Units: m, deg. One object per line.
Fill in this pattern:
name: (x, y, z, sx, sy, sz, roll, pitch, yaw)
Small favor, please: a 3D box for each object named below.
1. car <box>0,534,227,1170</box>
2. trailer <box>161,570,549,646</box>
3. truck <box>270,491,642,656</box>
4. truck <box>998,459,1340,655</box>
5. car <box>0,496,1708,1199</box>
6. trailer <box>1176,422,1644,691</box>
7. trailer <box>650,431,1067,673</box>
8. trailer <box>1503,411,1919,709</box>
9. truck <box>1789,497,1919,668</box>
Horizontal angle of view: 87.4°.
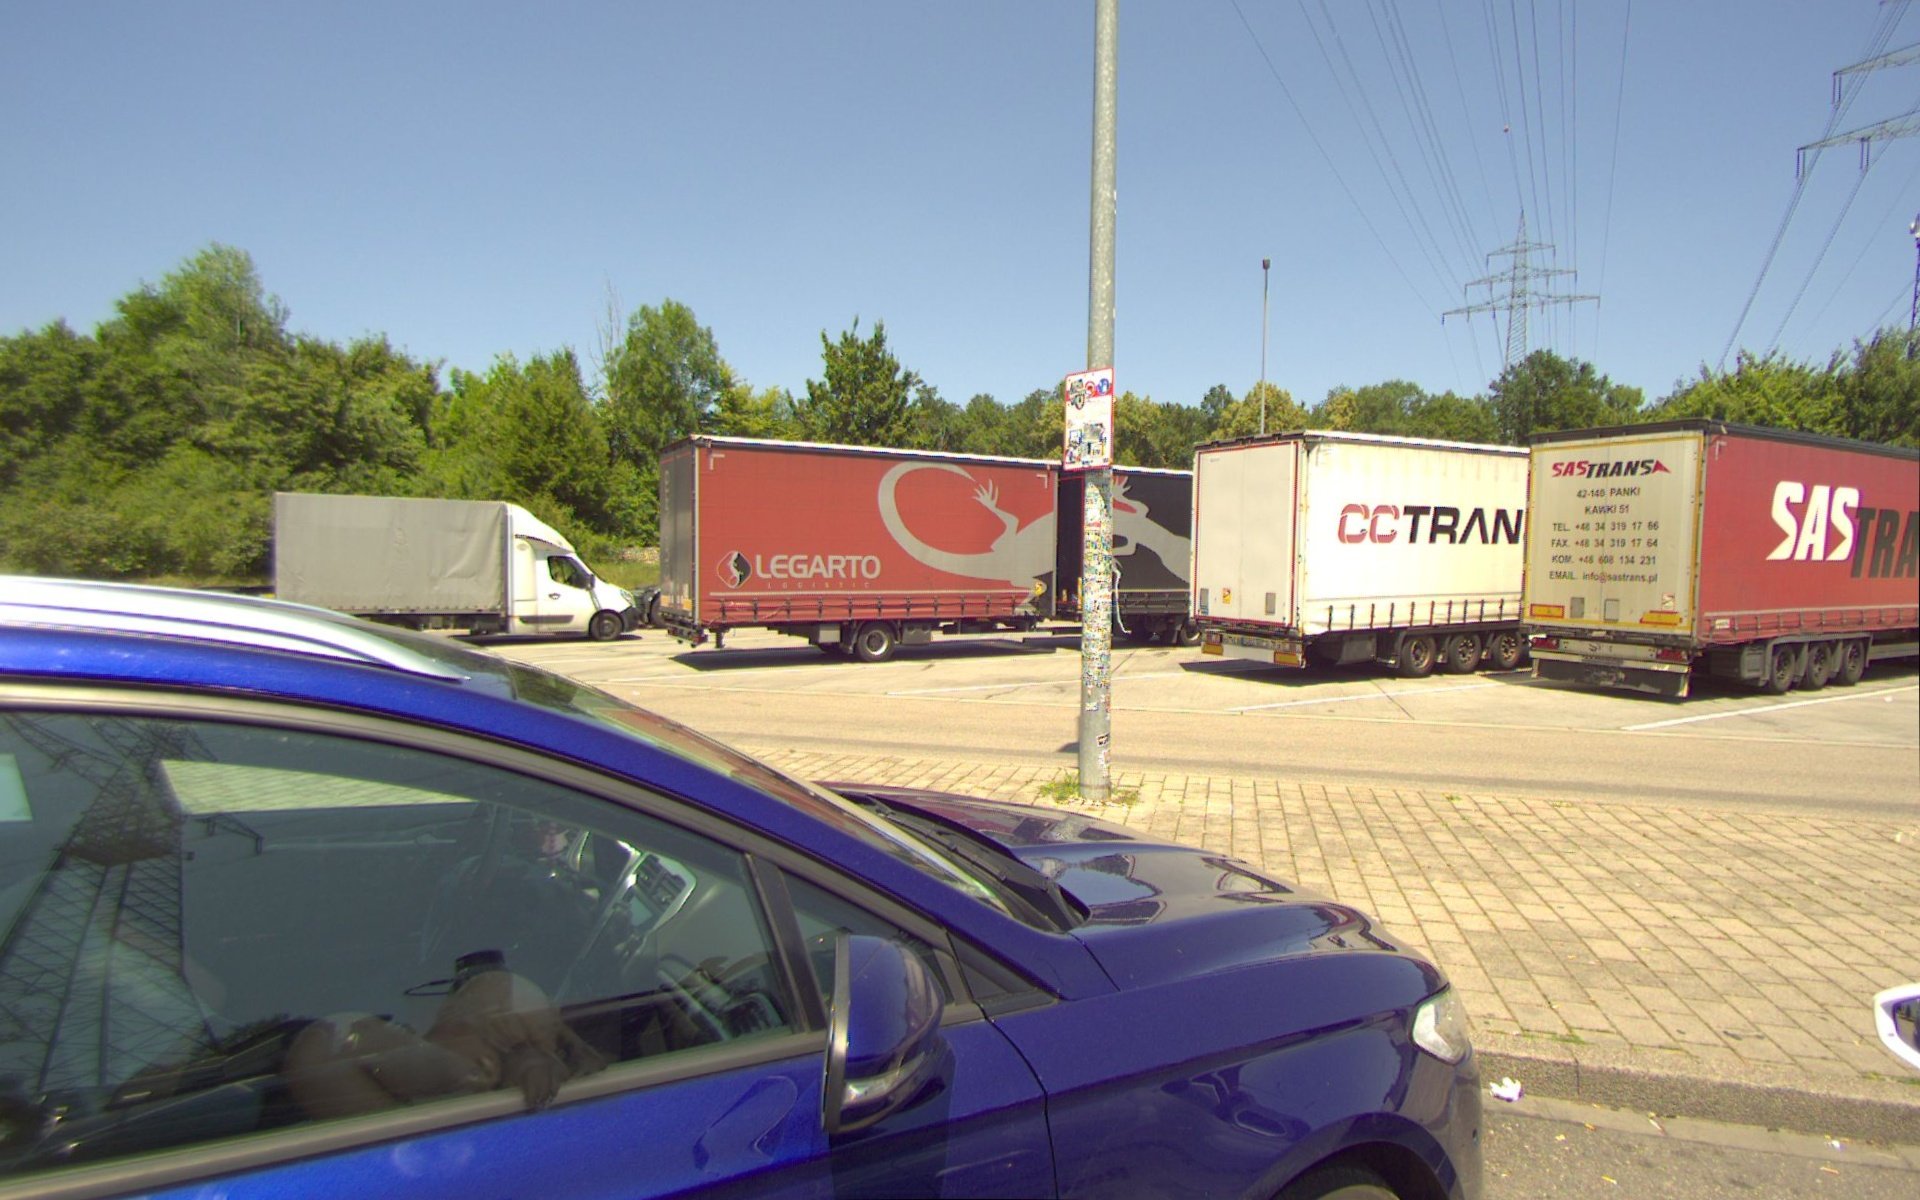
car: (-4.416, 0.581, 2.084, 4.522, 1.526, 1.743, 0, 2, -32)
trailer: (-14.751, 0.106, 25.229, 8.007, 1.648, 2.199, -1, 3, -30)
truck: (-11.240, -0.621, 22.990, 7.187, 3.289, 2.694, -1, 3, -29)
truck: (5.270, -0.999, 24.534, 8.586, 4.127, 2.693, -1, 3, -30)
car: (-0.974, 0.653, 1.447, 4.522, 1.491, 1.743, 0, 2, -32)
trailer: (8.971, -0.771, 19.339, 10.264, 4.158, 2.693, -1, 3, -30)
trailer: (-1.883, -0.903, 20.326, 8.007, 4.127, 2.693, -1, 3, -30)
trailer: (15.464, -0.678, 18.605, 13.599, 4.127, 2.807, -1, 3, -31)
truck: (21.257, -0.405, 22.042, 5.903, 3.409, 2.798, -1, 3, -30)
